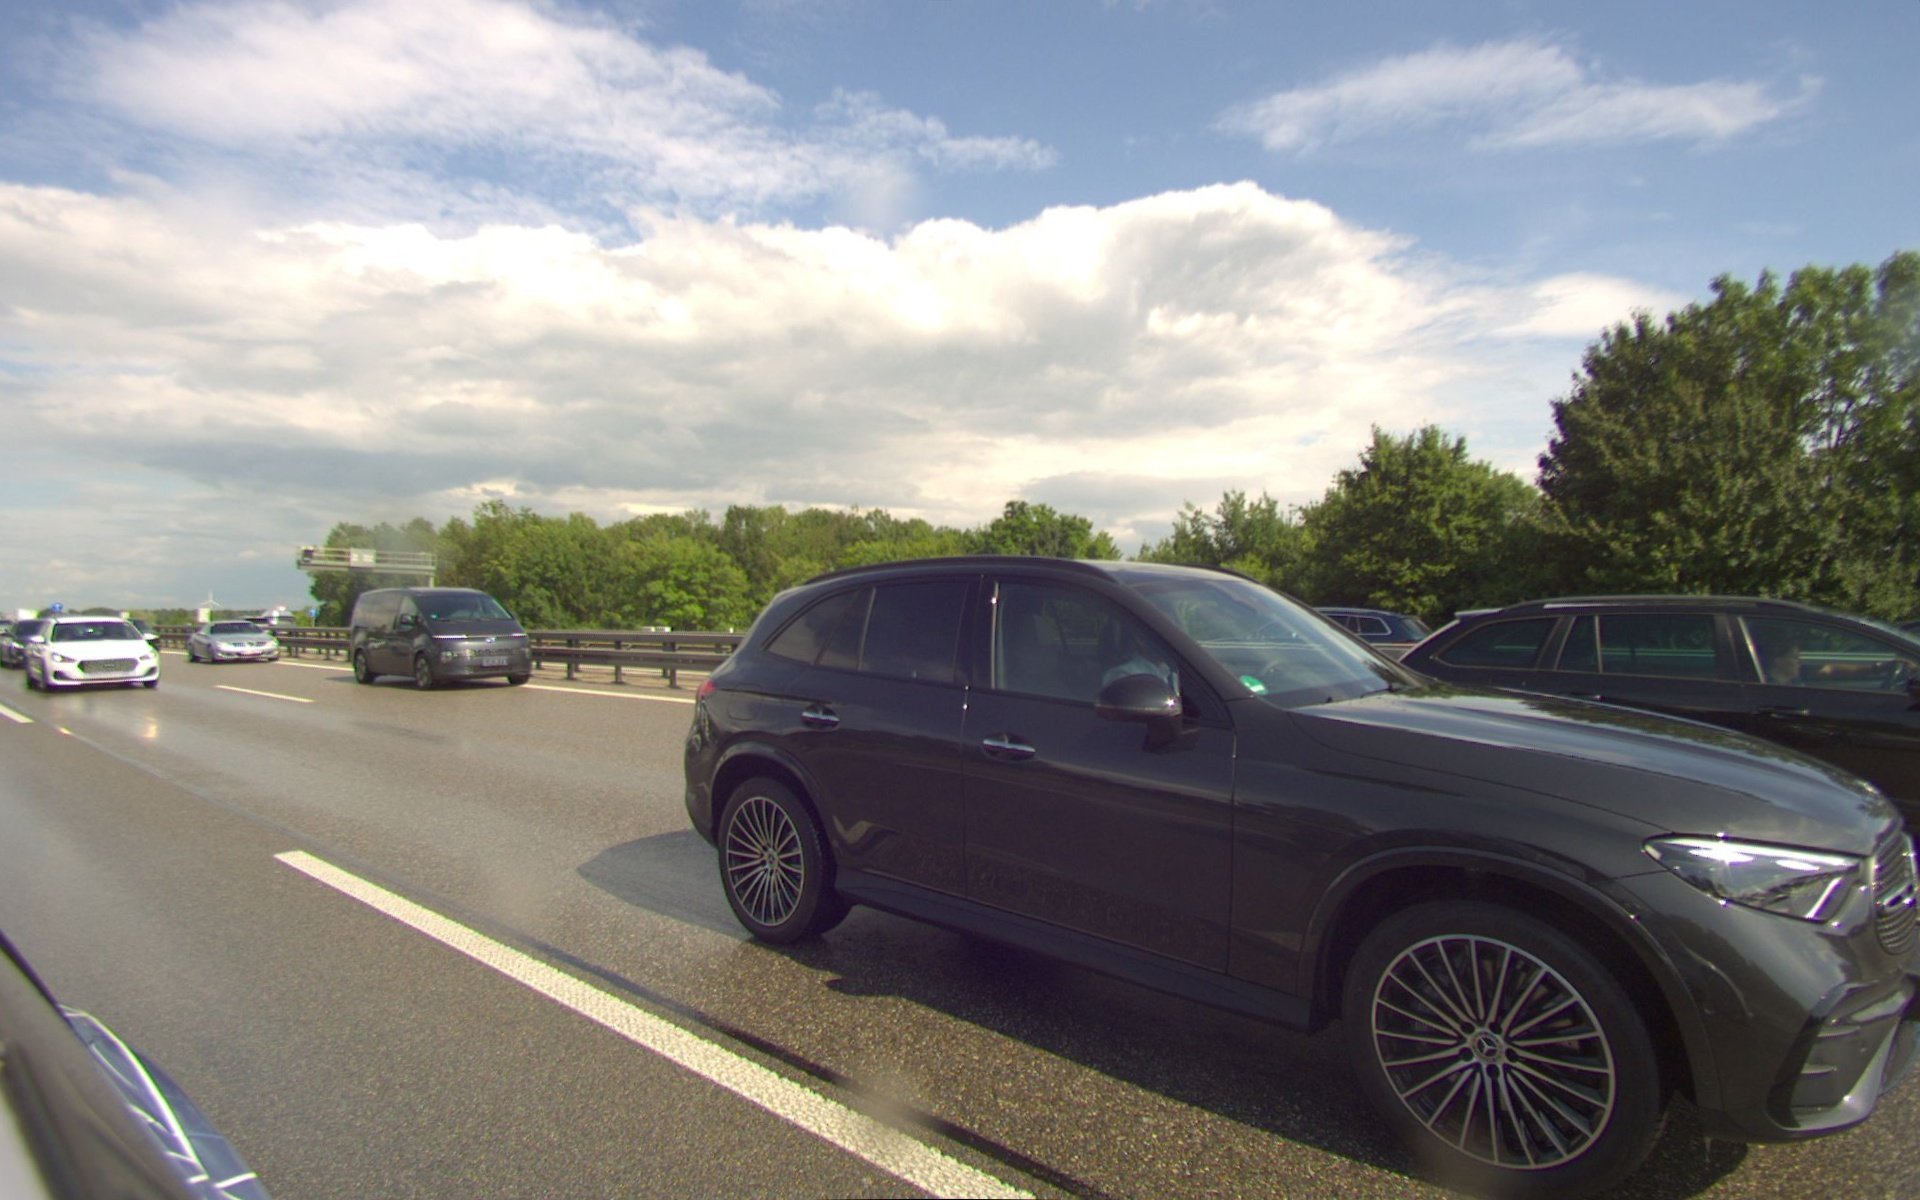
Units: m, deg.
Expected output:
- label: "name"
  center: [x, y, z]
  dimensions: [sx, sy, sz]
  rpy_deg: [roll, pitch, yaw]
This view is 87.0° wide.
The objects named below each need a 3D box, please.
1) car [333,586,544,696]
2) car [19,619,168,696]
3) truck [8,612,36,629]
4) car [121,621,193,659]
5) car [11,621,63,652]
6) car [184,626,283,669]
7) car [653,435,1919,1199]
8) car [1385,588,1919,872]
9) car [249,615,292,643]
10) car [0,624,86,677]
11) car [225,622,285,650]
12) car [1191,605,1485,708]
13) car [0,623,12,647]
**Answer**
- label: "car"
  center: [-10.537, 0.756, 20.261]
  dimensions: [5.233, 1.932, 1.973]
  rpy_deg: [-1, -1, 41]
- label: "car"
  center: [-17.763, 1.095, 20.683]
  dimensions: [4.239, 1.408, 1.785]
  rpy_deg: [-1, -1, 42]
- label: "truck"
  center: [-173.495, 3.837, 187.132]
  dimensions: [8.718, 3.009, 2.886]
  rpy_deg: [-1, 0, 41]
- label: "car"
  center: [-32.163, 1.557, 40.503]
  dimensions: [3.998, 1.431, 1.597]
  rpy_deg: [-1, -1, 42]
- label: "car"
  center: [-56.280, 2.193, 61.669]
  dimensions: [3.997, 1.763, 1.876]
  rpy_deg: [-1, -1, 40]
- label: "car"
  center: [-22.339, 1.412, 31.089]
  dimensions: [3.583, 1.198, 1.832]
  rpy_deg: [-1, -1, 43]
- label: "car"
  center: [0.850, 0.565, 4.061]
  dimensions: [4.625, 1.692, 1.856]
  rpy_deg: [-1, -1, 42]
- label: "car"
  center: [5.143, 0.663, 6.136]
  dimensions: [4.370, 1.435, 1.900]
  rpy_deg: [-1, -1, 41]
- label: "car"
  center: [-52.940, 2.221, 77.676]
  dimensions: [4.364, 2.029, 1.971]
  rpy_deg: [-1, -1, 45]
- label: "car"
  center: [-26.802, 1.427, 29.403]
  dimensions: [3.998, 1.409, 1.577]
  rpy_deg: [-1, -1, 41]
- label: "car"
  center: [-38.638, 1.934, 55.424]
  dimensions: [3.630, 1.462, 1.826]
  rpy_deg: [-1, -1, 40]
- label: "car"
  center: [7.010, 0.977, 19.096]
  dimensions: [4.823, 1.697, 1.973]
  rpy_deg: [-1, -1, 41]
- label: "car"
  center: [-72.326, 2.589, 75.516]
  dimensions: [3.997, 1.763, 1.876]
  rpy_deg: [-1, -1, 40]
